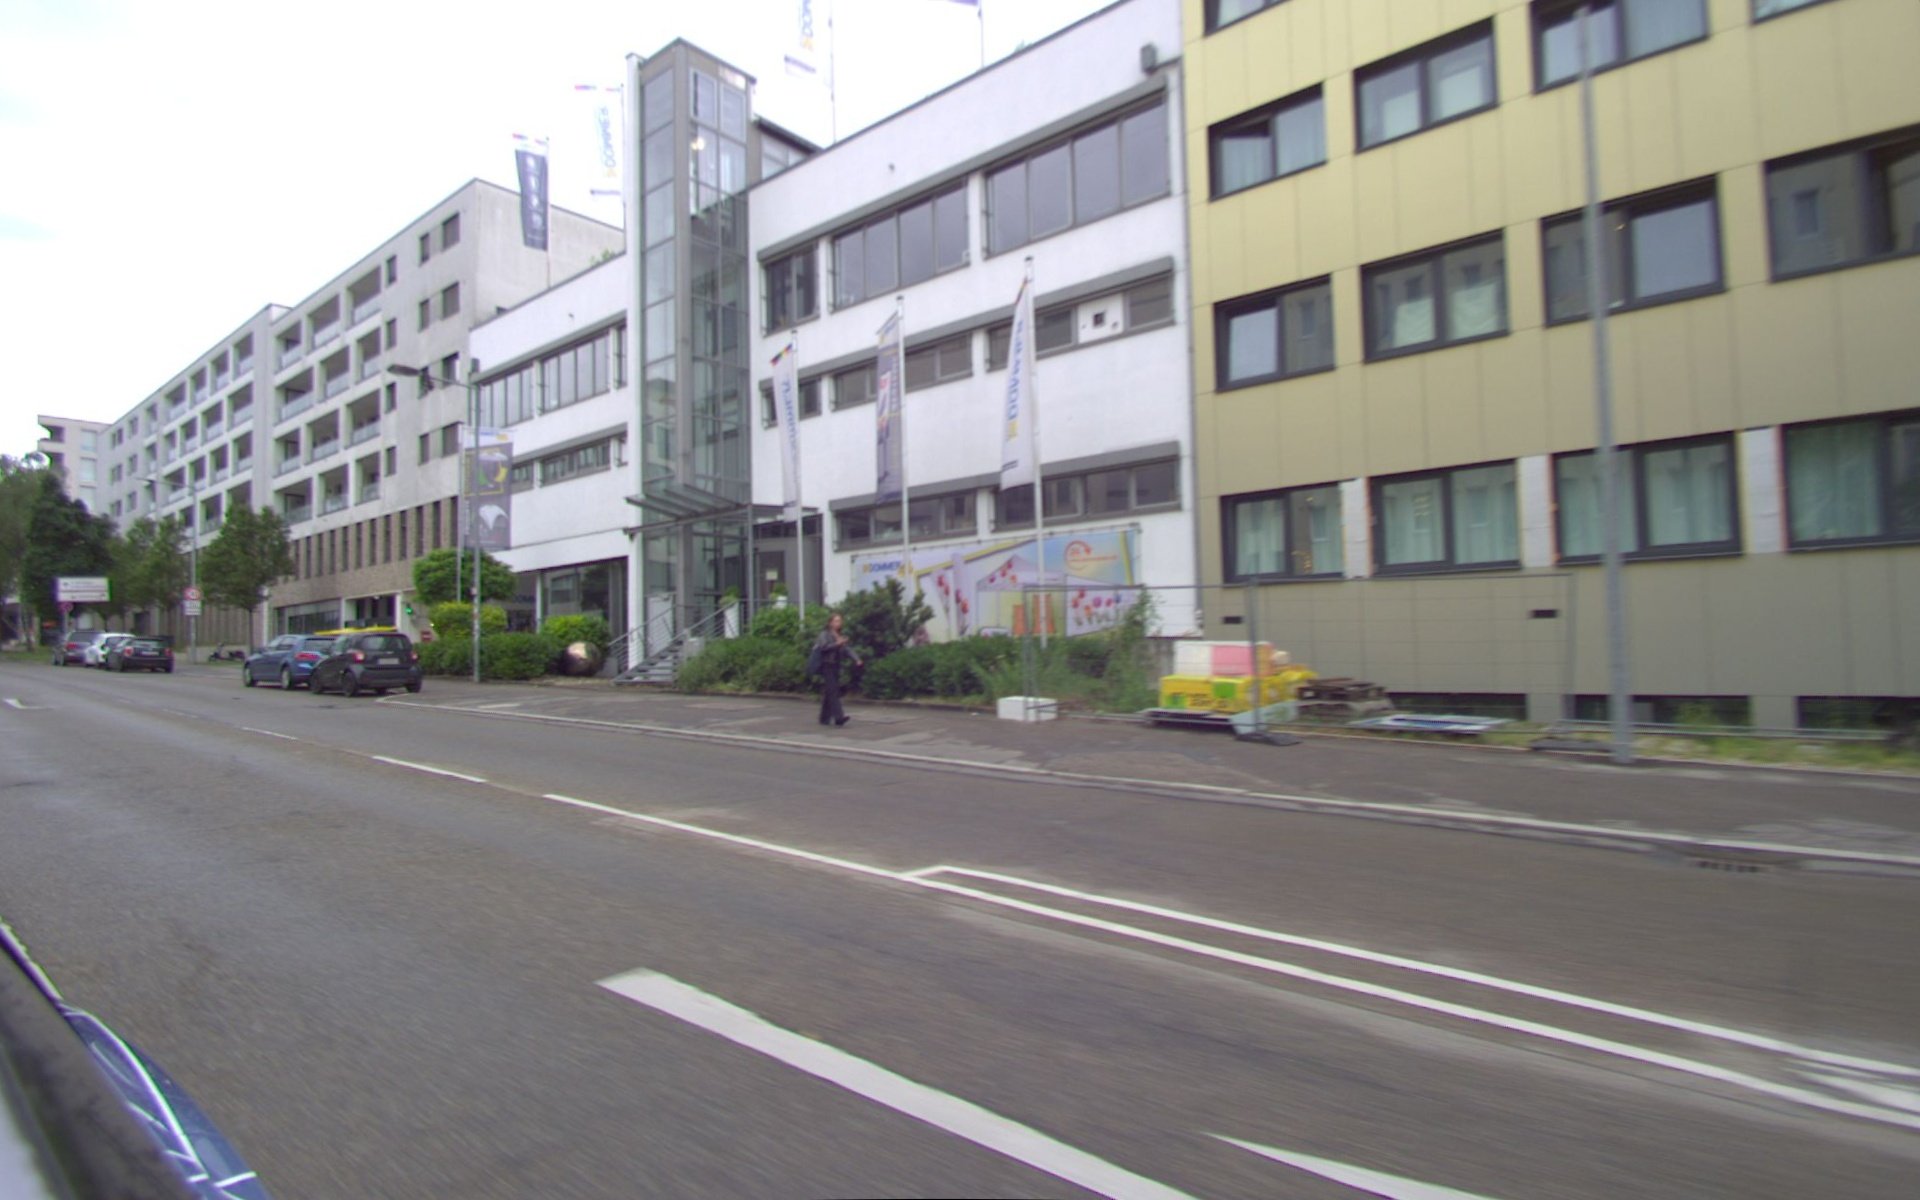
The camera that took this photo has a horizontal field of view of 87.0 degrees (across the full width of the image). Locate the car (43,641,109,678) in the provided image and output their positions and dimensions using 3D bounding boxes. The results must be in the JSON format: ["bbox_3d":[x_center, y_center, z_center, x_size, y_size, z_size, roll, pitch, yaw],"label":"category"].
[{"bbox_3d":[-40.436,2.703,46.265,3.970,1.630,1.609,-2,-5,40],"label":"car"}]

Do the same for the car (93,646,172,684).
[{"bbox_3d":[-32.983,2.577,40.301,3.735,1.402,1.641,-1,-4,39],"label":"car"}]

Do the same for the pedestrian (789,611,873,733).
[{"bbox_3d":[-1.897,1.026,14.864,0.968,1.689,0.759,-1,0,42],"label":"pedestrian"}]

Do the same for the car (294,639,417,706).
[{"bbox_3d":[-14.872,1.743,24.887,2.976,1.521,1.501,-1,-4,36],"label":"car"}]

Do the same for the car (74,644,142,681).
[{"bbox_3d":[-36.500,2.668,43.331,3.419,1.479,1.577,-1,-5,39],"label":"car"}]

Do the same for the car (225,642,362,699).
[{"bbox_3d":[-18.086,1.876,27.407,4.260,1.414,1.641,-1,-4,36],"label":"car"}]
